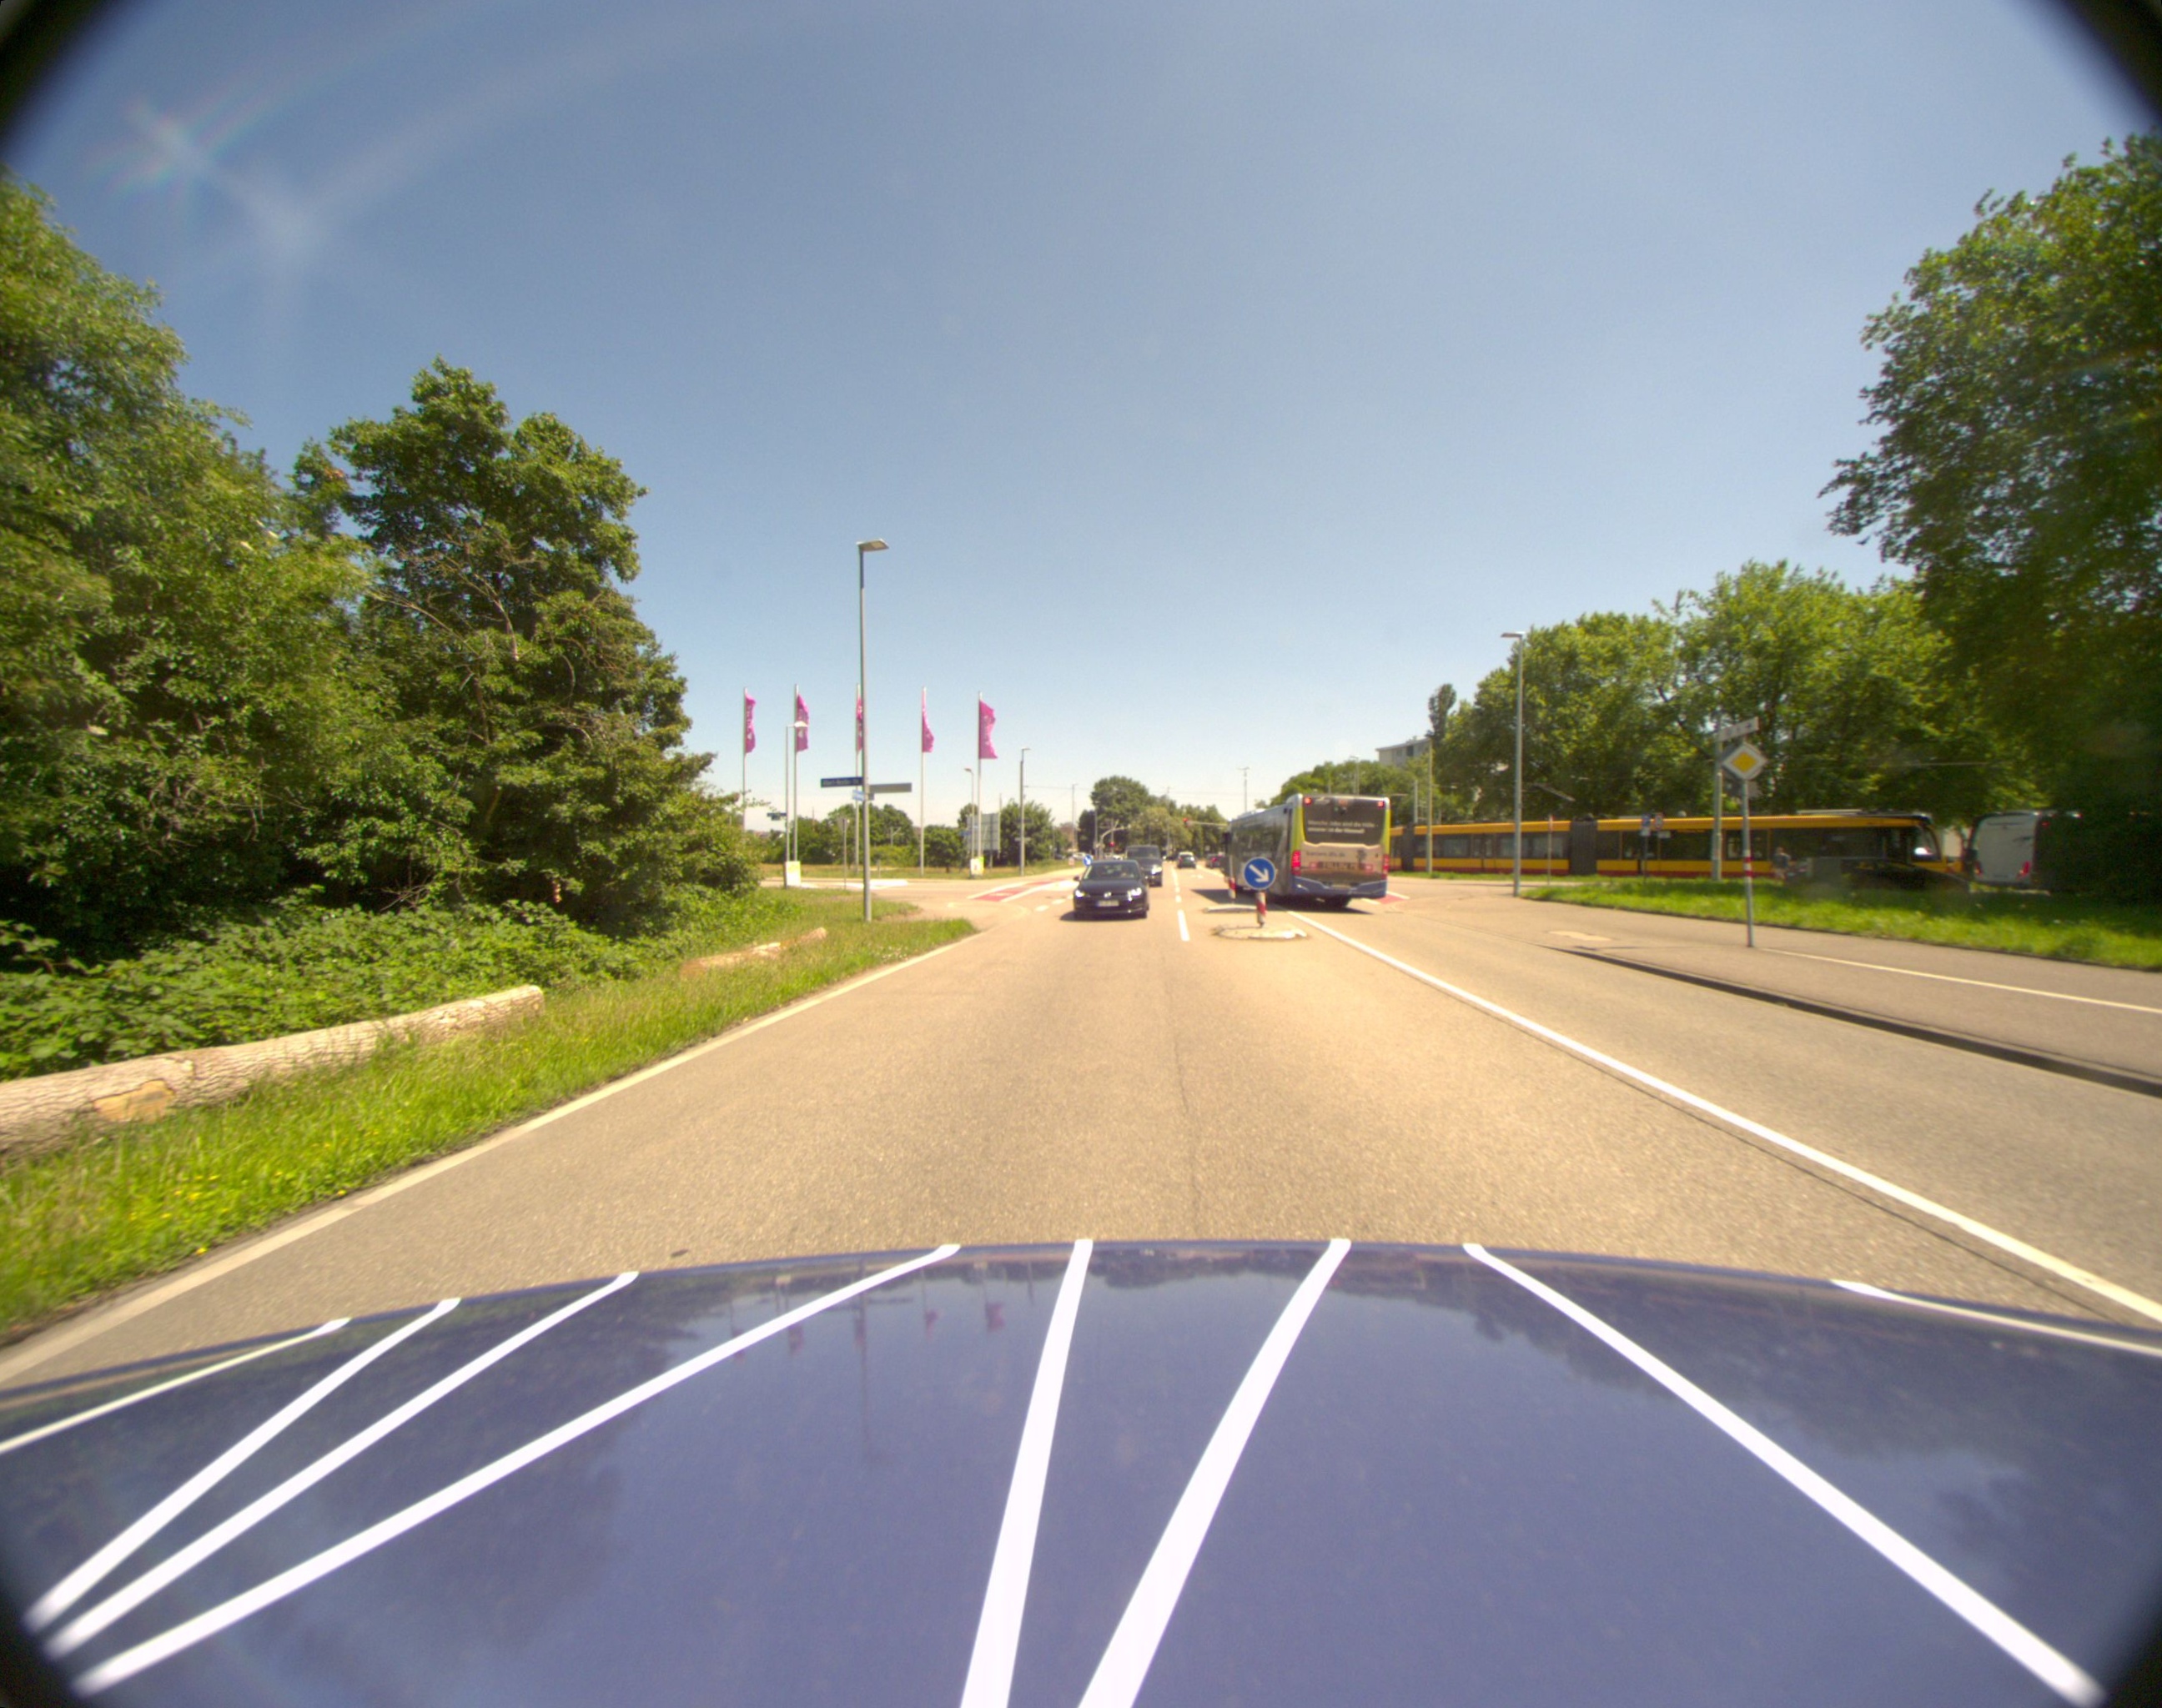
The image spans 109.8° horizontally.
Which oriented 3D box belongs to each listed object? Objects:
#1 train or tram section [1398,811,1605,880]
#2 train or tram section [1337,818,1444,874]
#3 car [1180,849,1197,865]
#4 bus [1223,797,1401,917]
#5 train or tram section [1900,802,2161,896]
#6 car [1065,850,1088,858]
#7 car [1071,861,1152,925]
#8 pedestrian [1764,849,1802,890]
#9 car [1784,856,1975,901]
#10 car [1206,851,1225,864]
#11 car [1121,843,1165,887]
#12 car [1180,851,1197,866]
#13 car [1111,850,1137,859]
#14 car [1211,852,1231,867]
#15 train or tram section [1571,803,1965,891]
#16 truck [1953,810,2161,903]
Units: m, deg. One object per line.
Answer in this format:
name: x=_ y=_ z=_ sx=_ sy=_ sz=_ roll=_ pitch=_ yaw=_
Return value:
train or tram section: x=25.472 y=-0.497 z=47.144 sx=3.030 sy=3.737 sz=11.592 roll=1 pitch=0 yaw=-25
train or tram section: x=23.272 y=-0.532 z=58.281 sx=3.023 sy=3.737 sz=12.994 roll=1 pitch=0 yaw=1
car: x=12.046 y=0.318 z=85.403 sx=1.815 sy=1.713 sz=4.833 roll=-1 pitch=0 yaw=7
bus: x=7.073 y=0.054 z=25.611 sx=2.756 sy=3.027 sz=11.939 roll=2 pitch=0 yaw=2
train or tram section: x=44.534 y=-0.151 z=32.931 sx=14.180 sy=3.737 sz=3.026 roll=1 pitch=0 yaw=2
car: x=-0.917 y=0.045 z=149.589 sx=4.399 sy=1.567 sz=1.879 roll=0 pitch=-1 yaw=38
car: x=0.881 y=0.912 z=19.284 sx=1.707 sy=1.396 sz=4.056 roll=-1 pitch=0 yaw=7
pedestrian: x=29.541 y=0.654 z=31.995 sx=0.809 sy=1.699 sz=0.855 roll=0 pitch=0 yaw=3
car: x=27.544 y=0.823 z=26.370 sx=4.304 sy=1.409 sz=1.668 roll=0 pitch=2 yaw=15
car: x=14.739 y=0.369 z=83.587 sx=1.763 sy=1.448 sz=4.287 roll=0 pitch=0 yaw=6
car: x=2.982 y=0.463 z=36.139 sx=1.940 sy=1.920 sz=4.848 roll=-1 pitch=0 yaw=5
car: x=10.998 y=0.444 z=77.994 sx=1.726 sy=1.454 sz=3.992 roll=-1 pitch=0 yaw=7
car: x=7.702 y=0.127 z=137.749 sx=4.399 sy=1.567 sz=1.879 roll=0 pitch=-1 yaw=38
car: x=13.856 y=0.544 z=75.307 sx=1.625 sy=1.447 sz=3.503 roll=1 pitch=1 yaw=7
train or tram section: x=32.883 y=-0.384 z=37.747 sx=14.005 sy=3.737 sz=3.033 roll=1 pitch=0 yaw=39
truck: x=34.143 y=0.064 z=24.691 sx=7.326 sy=2.893 sz=2.570 roll=0 pitch=1 yaw=17
